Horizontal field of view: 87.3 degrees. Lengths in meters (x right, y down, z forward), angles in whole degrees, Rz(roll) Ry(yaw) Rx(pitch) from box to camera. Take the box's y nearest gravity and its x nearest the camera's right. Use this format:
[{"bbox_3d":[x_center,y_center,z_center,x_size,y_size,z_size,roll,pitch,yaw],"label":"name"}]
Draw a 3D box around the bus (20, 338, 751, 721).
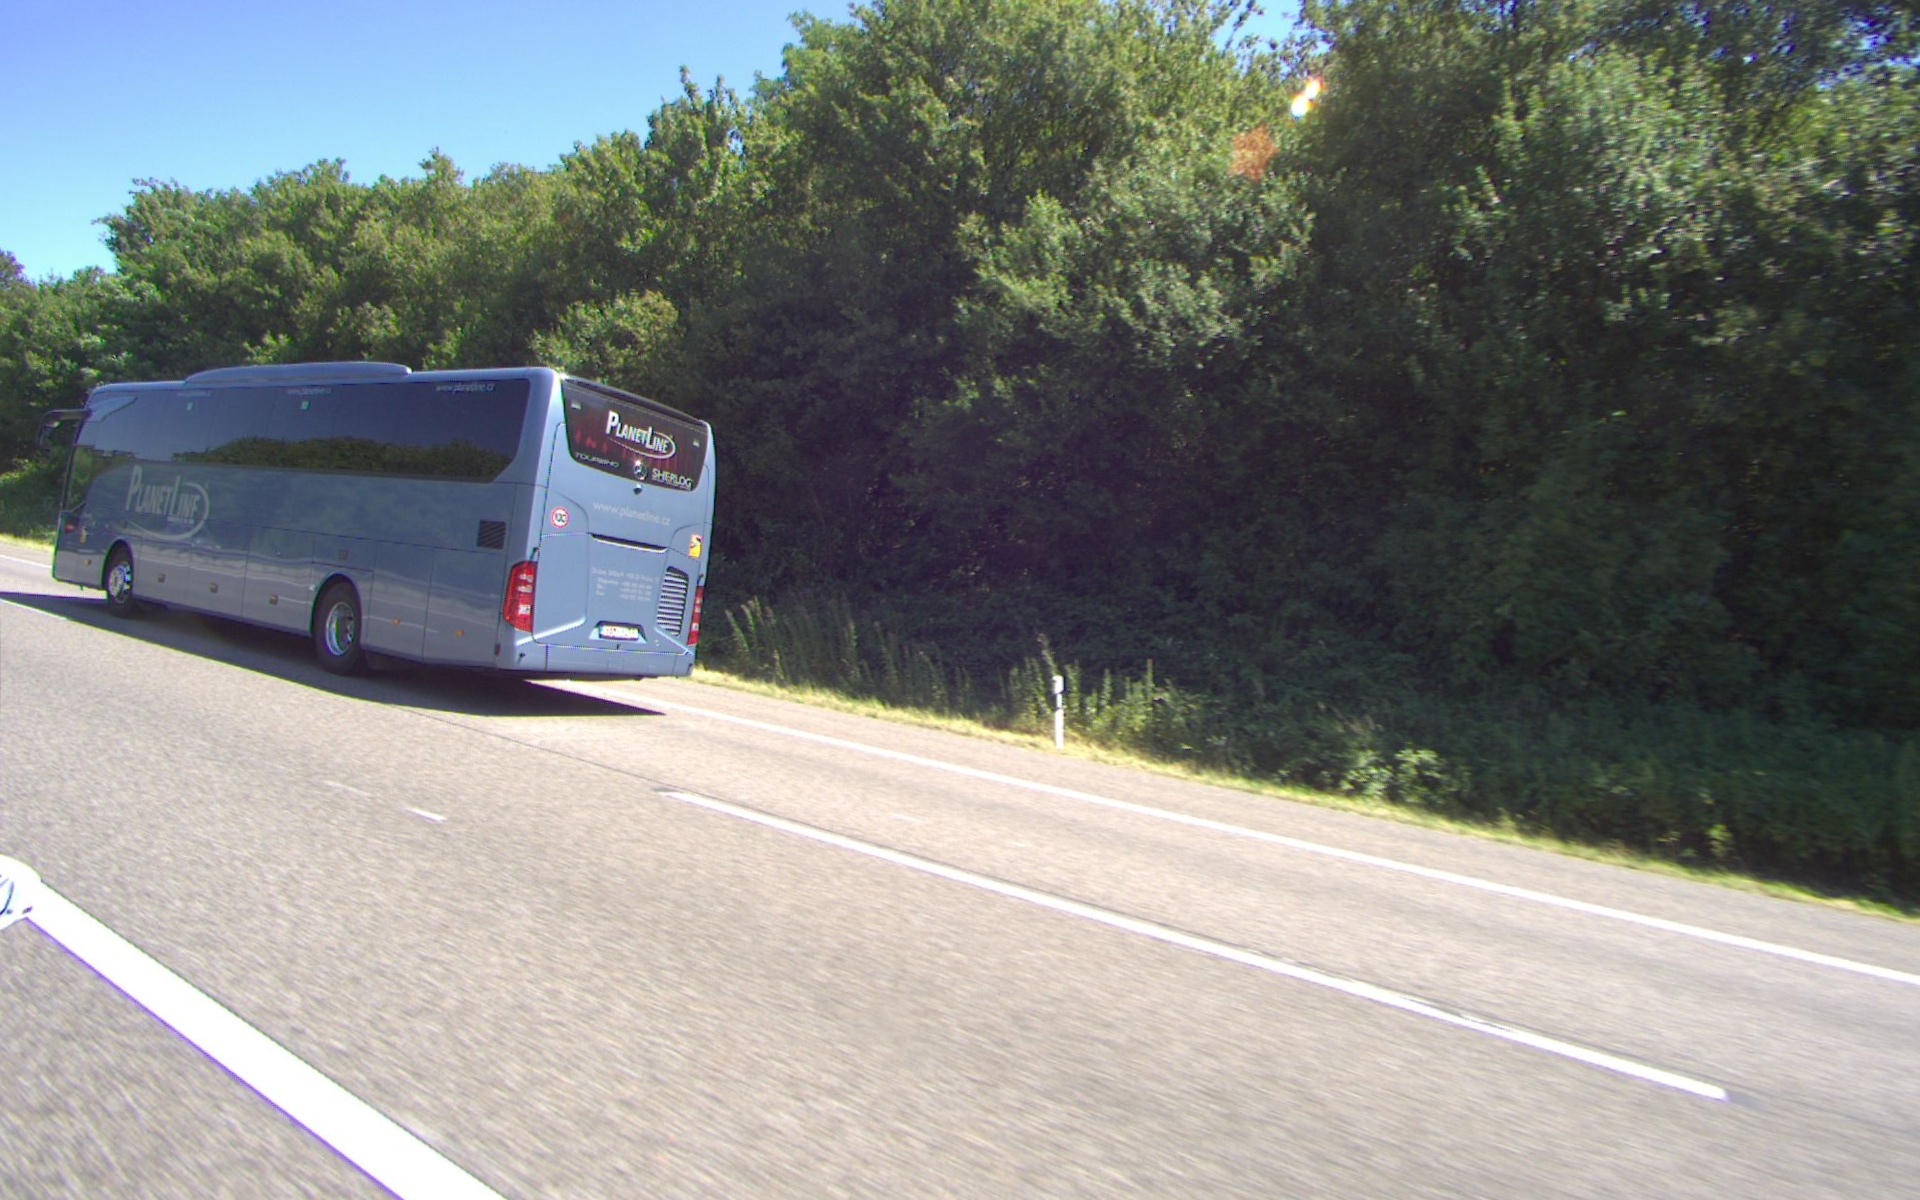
[{"bbox_3d":[-8.617,-1.151,13.859,12.265,3.639,2.807,7,-1,31],"label":"bus"}]
